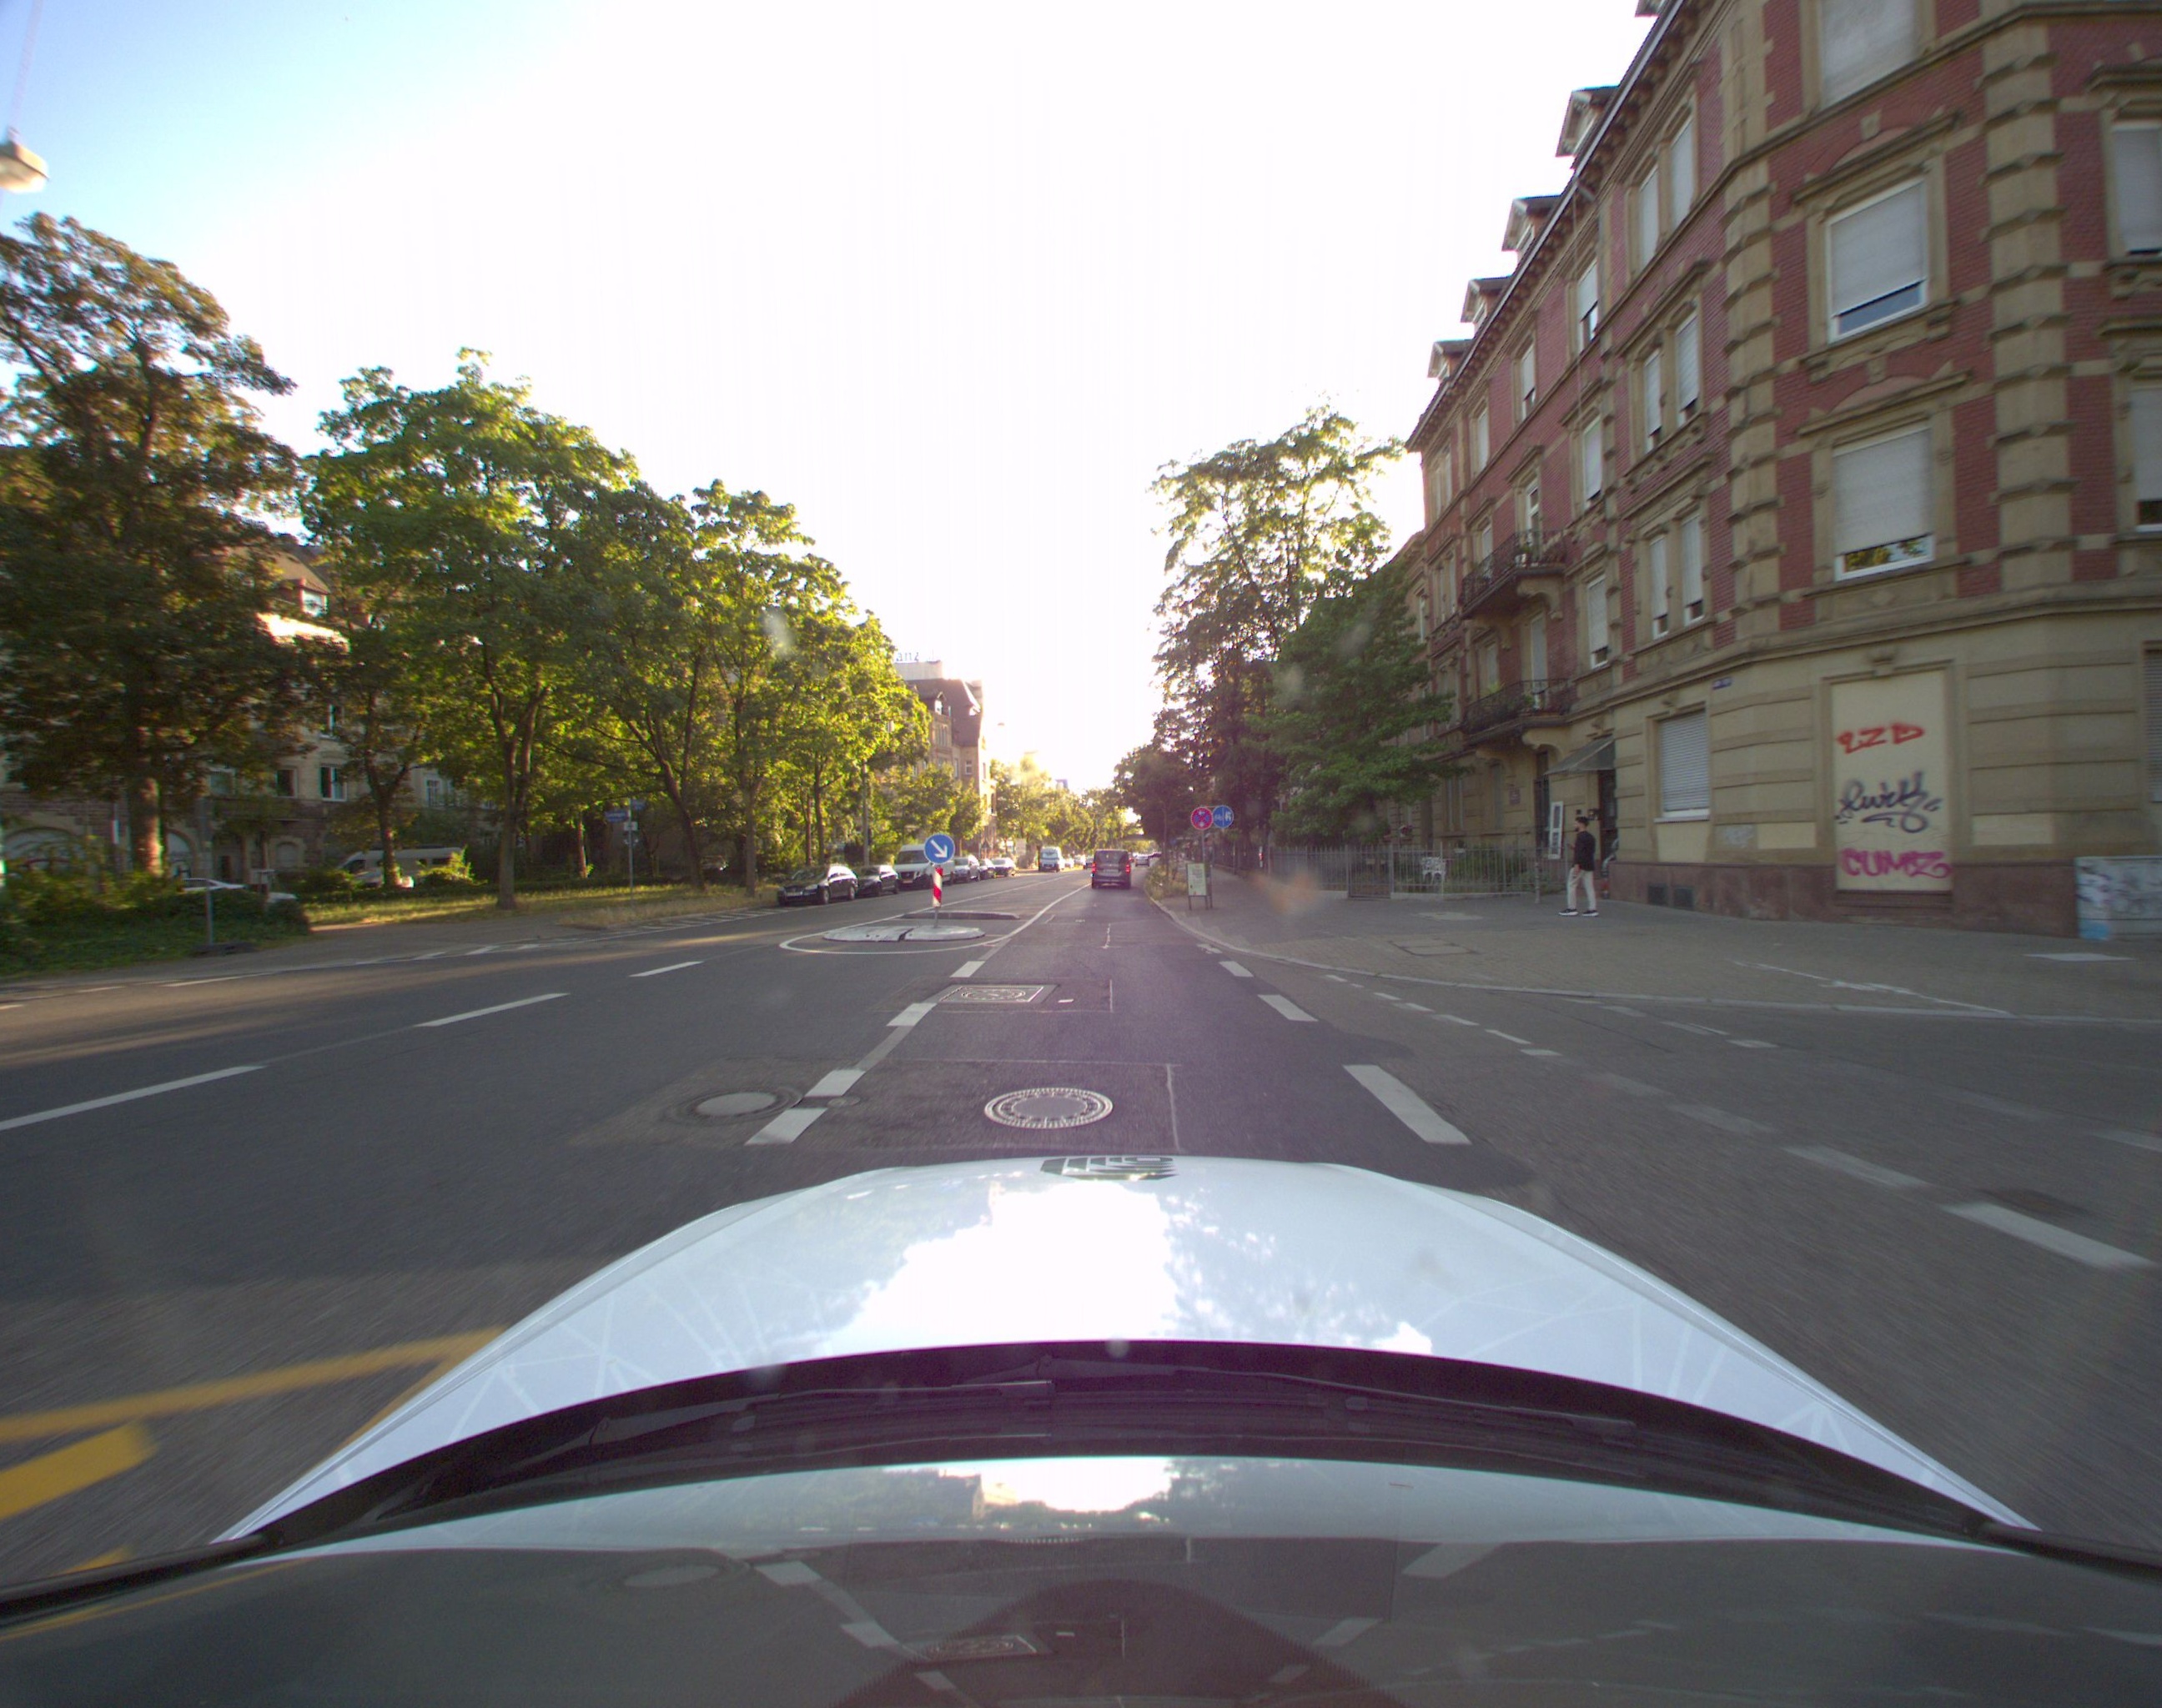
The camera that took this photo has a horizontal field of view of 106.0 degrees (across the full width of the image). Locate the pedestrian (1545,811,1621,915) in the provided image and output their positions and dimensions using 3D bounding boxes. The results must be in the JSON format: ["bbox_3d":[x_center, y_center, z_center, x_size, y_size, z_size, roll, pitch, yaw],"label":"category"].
[{"bbox_3d":[9.110,0.149,14.814,0.742,1.778,0.832,-5,0,2],"label":"pedestrian"}]

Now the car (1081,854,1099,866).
[{"bbox_3d":[1.113,0.703,98.715,1.757,1.402,4.553,-2,0,6],"label":"car"}]

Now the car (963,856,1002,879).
[{"bbox_3d":[-6.896,0.946,57.426,1.727,1.445,4.632,-2,0,5],"label":"car"}]

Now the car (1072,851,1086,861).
[{"bbox_3d":[-0.272,0.254,113.532,1.689,1.451,4.006,0,0,5],"label":"car"}]

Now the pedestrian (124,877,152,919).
[{"bbox_3d":[-32.223,1.496,27.826,0.452,1.396,0.562,-2,0,35],"label":"pedestrian"}]

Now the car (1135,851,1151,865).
[{"bbox_3d":[7.892,0.462,103.641,1.984,1.634,4.005,-2,1,4],"label":"car"}]

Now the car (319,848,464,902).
[{"bbox_3d":[-35.014,1.018,41.507,2.244,2.485,5.268,-1,0,39],"label":"car"}]

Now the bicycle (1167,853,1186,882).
[{"bbox_3d":[4.087,0.558,34.801,0.644,1.167,1.932,0,0,2],"label":"bicycle"}]

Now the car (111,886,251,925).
[{"bbox_3d":[-39.659,2.224,35.945,1.870,1.398,4.026,-1,1,39],"label":"car"}]

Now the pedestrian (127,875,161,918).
[{"bbox_3d":[-31.620,1.437,27.482,0.455,1.396,0.558,-2,0,-1],"label":"pedestrian"}]

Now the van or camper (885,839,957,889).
[{"bbox_3d":[-8.613,0.482,44.452,2.081,2.468,6.314,-3,0,5],"label":"van or camper"}]

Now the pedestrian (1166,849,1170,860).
[{"bbox_3d":[15.643,0.133,146.052,0.504,1.888,0.544,0,0,-9],"label":"pedestrian"}]

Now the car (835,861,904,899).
[{"bbox_3d":[-9.440,1.116,36.645,1.621,1.429,4.248,-3,0,5],"label":"car"}]

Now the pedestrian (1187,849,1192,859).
[{"bbox_3d":[16.788,-0.004,125.882,0.641,1.633,0.657,0,0,6],"label":"pedestrian"}]

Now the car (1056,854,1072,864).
[{"bbox_3d":[-2.091,0.591,98.649,1.529,1.248,3.619,0,0,5],"label":"car"}]

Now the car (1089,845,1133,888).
[{"bbox_3d":[1.539,0.582,40.005,1.878,1.925,3.845,-2,0,5],"label":"car"}]

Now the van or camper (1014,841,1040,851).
[{"bbox_3d":[-14.372,-2.089,217.256,6.534,2.522,2.452,0,0,4],"label":"van or camper"}]

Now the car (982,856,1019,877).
[{"bbox_3d":[-6.260,0.945,63.807,1.984,1.483,4.837,-2,0,5],"label":"car"}]

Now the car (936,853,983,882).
[{"bbox_3d":[-7.675,0.842,51.895,1.857,1.645,4.578,-2,0,5],"label":"car"}]

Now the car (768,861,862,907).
[{"bbox_3d":[-10.019,1.075,31.048,1.615,1.506,4.552,-2,0,6],"label":"car"}]

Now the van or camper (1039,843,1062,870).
[{"bbox_3d":[-3.124,0.206,84.321,1.986,2.668,6.041,0,0,2],"label":"van or camper"}]
